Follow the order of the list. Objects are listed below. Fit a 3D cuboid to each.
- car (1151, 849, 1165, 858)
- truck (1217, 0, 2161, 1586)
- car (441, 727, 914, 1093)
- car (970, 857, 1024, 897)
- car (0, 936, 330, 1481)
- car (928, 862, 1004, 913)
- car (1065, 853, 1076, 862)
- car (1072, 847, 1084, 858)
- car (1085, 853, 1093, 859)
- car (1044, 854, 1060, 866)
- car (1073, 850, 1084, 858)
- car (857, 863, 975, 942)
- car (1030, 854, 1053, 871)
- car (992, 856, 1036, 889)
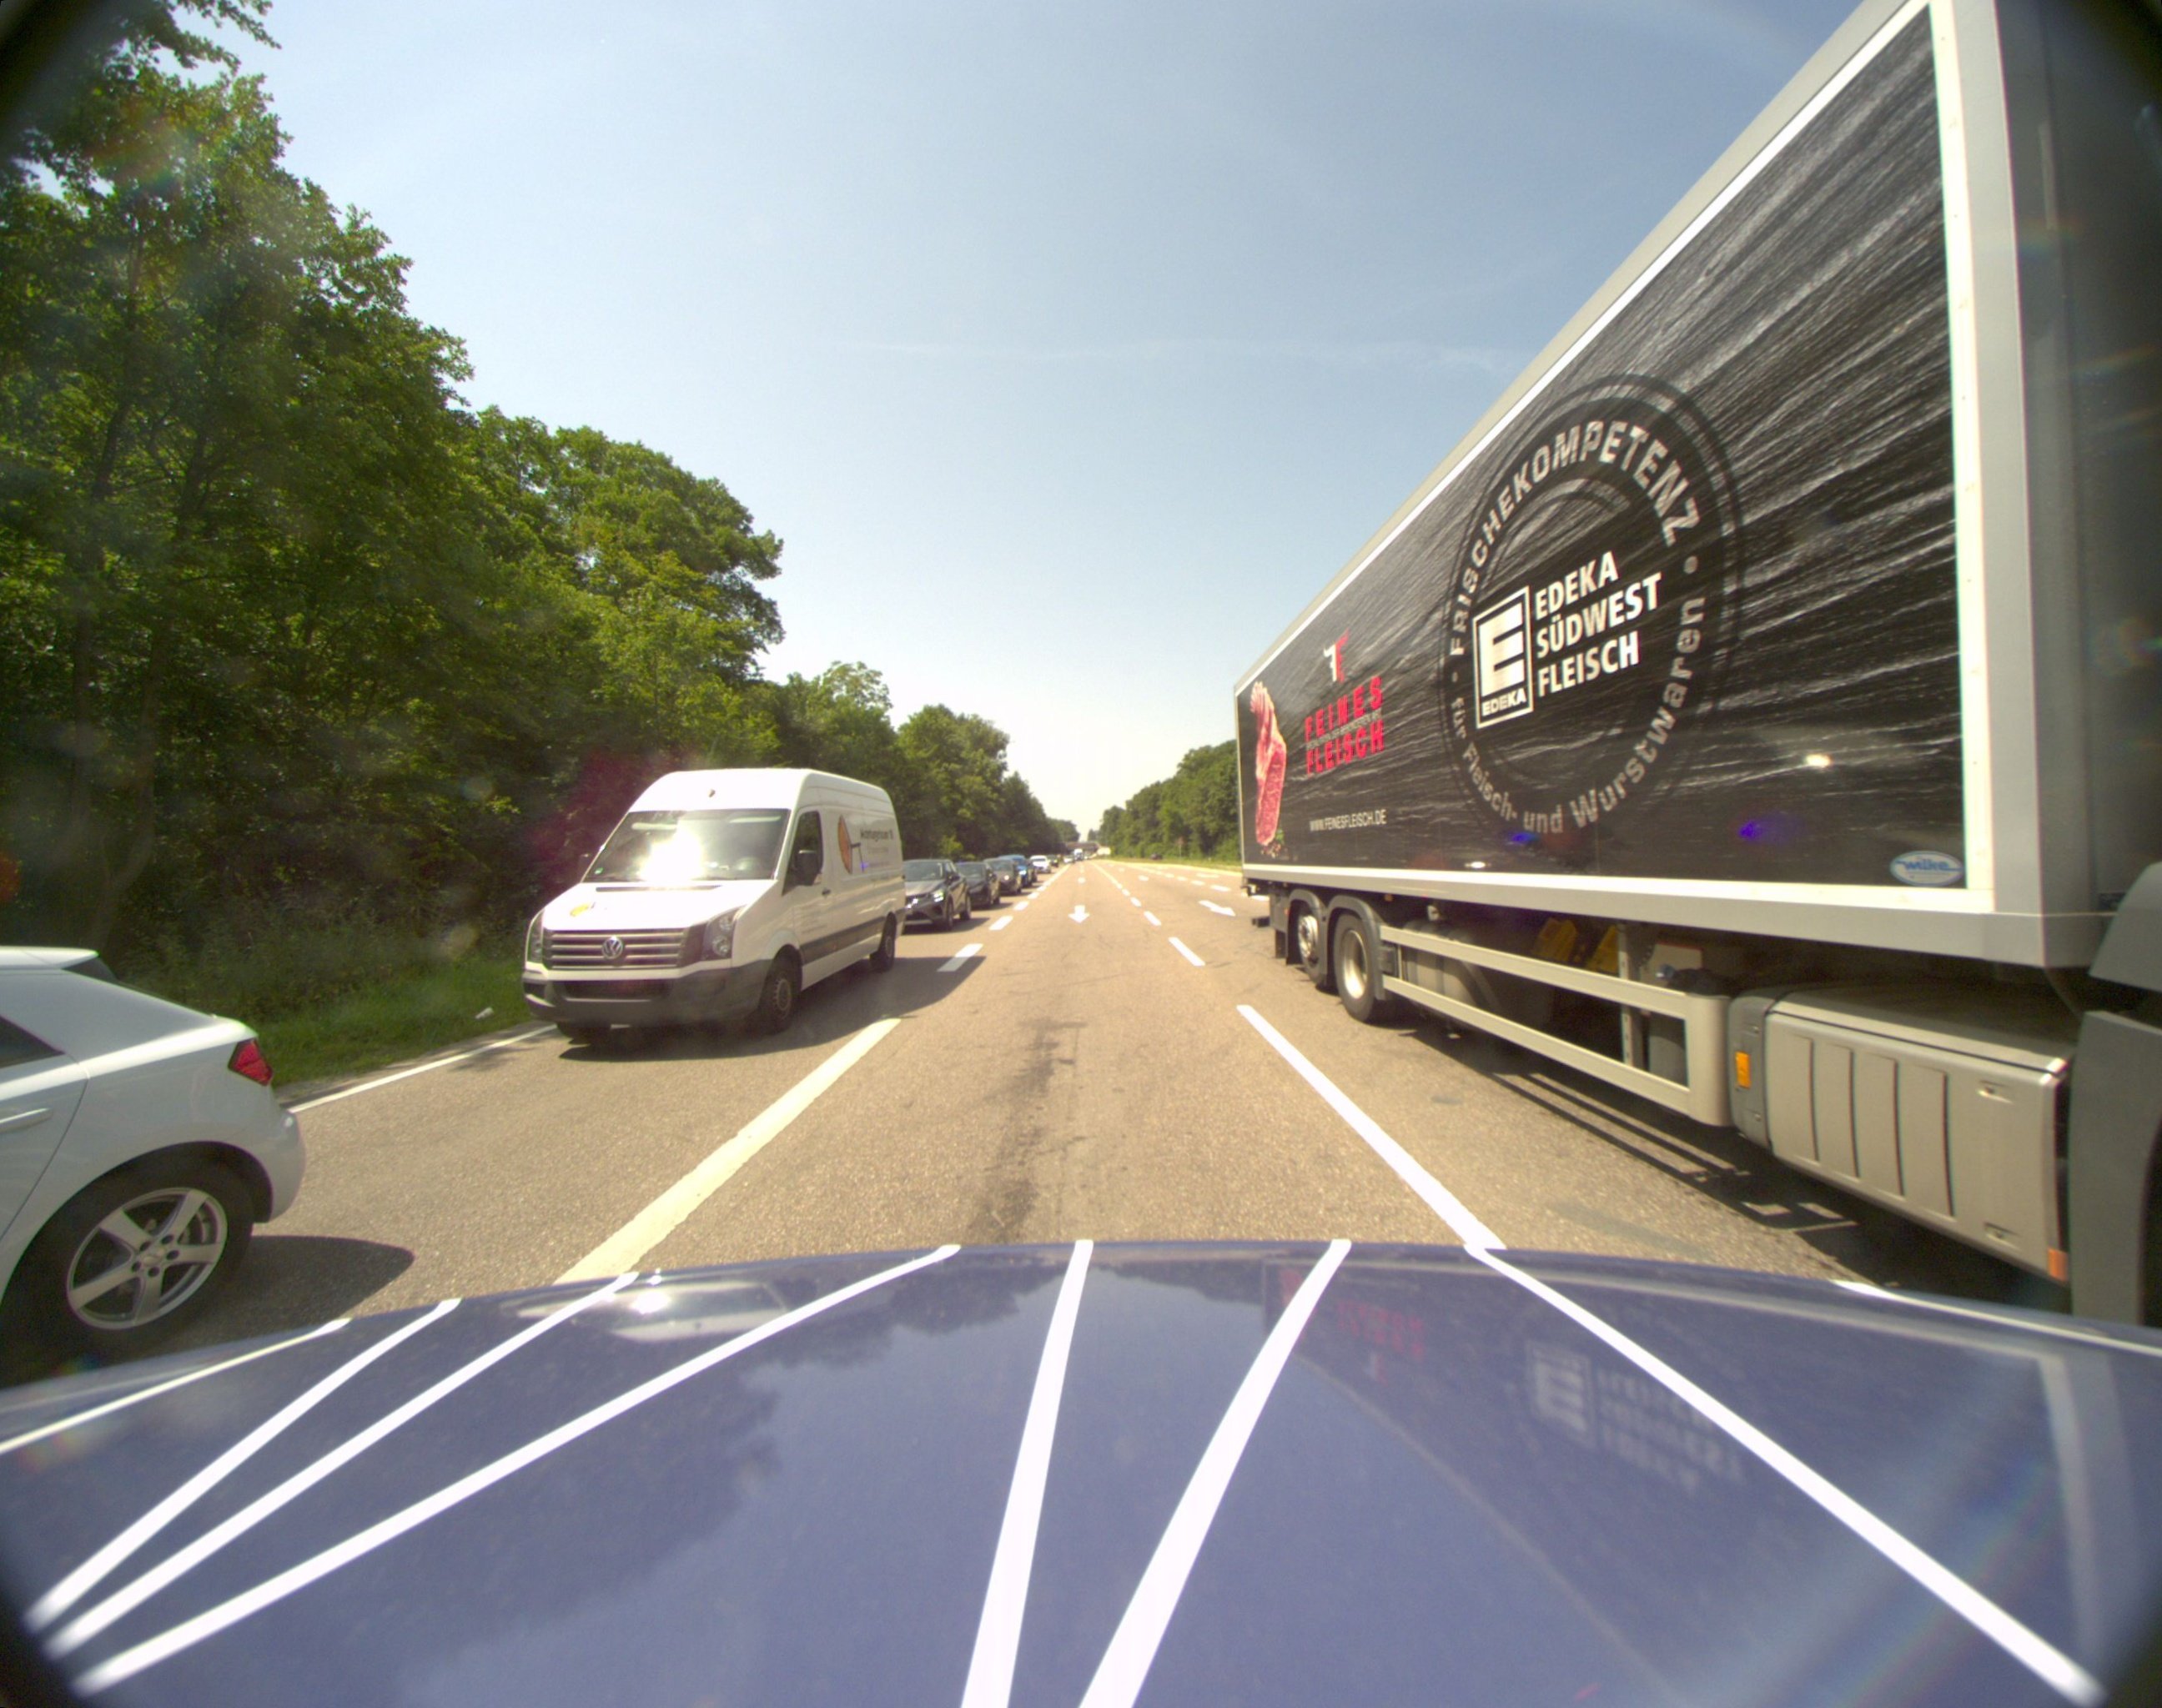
[{"bbox_3d":[13.771,-0.090,135.538,1.999,1.543,3.999,-2,1,0],"label":"car"},{"bbox_3d":[3.488,-0.472,5.184,2.753,3.862,11.318,-2,0,-1],"label":"truck"},{"bbox_3d":[-3.640,0.415,8.640,1.974,2.629,6.060,-2,0,1],"label":"car"},{"bbox_3d":[-3.343,0.896,31.037,1.796,1.431,4.228,-1,0,-1],"label":"car"},{"bbox_3d":[-3.963,1.093,1.047,1.693,1.427,4.001,-3,0,3],"label":"car"},{"bbox_3d":[-3.489,0.969,23.805,1.796,1.348,4.228,-1,0,-1],"label":"car"},{"bbox_3d":[-1.865,0.618,132.748,1.796,1.431,4.228,-1,0,-1],"label":"car"},{"bbox_3d":[-0.742,-0.346,185.057,2.674,2.685,6.330,0,0,2],"label":"car"},{"bbox_3d":[2.015,0.589,196.060,1.999,1.543,4.000,0,0,0],"label":"car"},{"bbox_3d":[-3.563,0.736,93.140,1.796,1.431,4.228,-1,0,-1],"label":"car"},{"bbox_3d":[-0.521,-0.011,156.035,1.992,1.575,4.364,-1,0,-1],"label":"car"},{"bbox_3d":[-3.590,0.991,17.295,1.796,1.452,4.228,-2,0,-1],"label":"car"},{"bbox_3d":[-3.305,0.693,64.018,1.796,1.431,4.228,0,0,-1],"label":"car"},{"bbox_3d":[-3.210,0.848,37.091,1.796,1.431,4.228,-1,0,-1],"label":"car"}]
